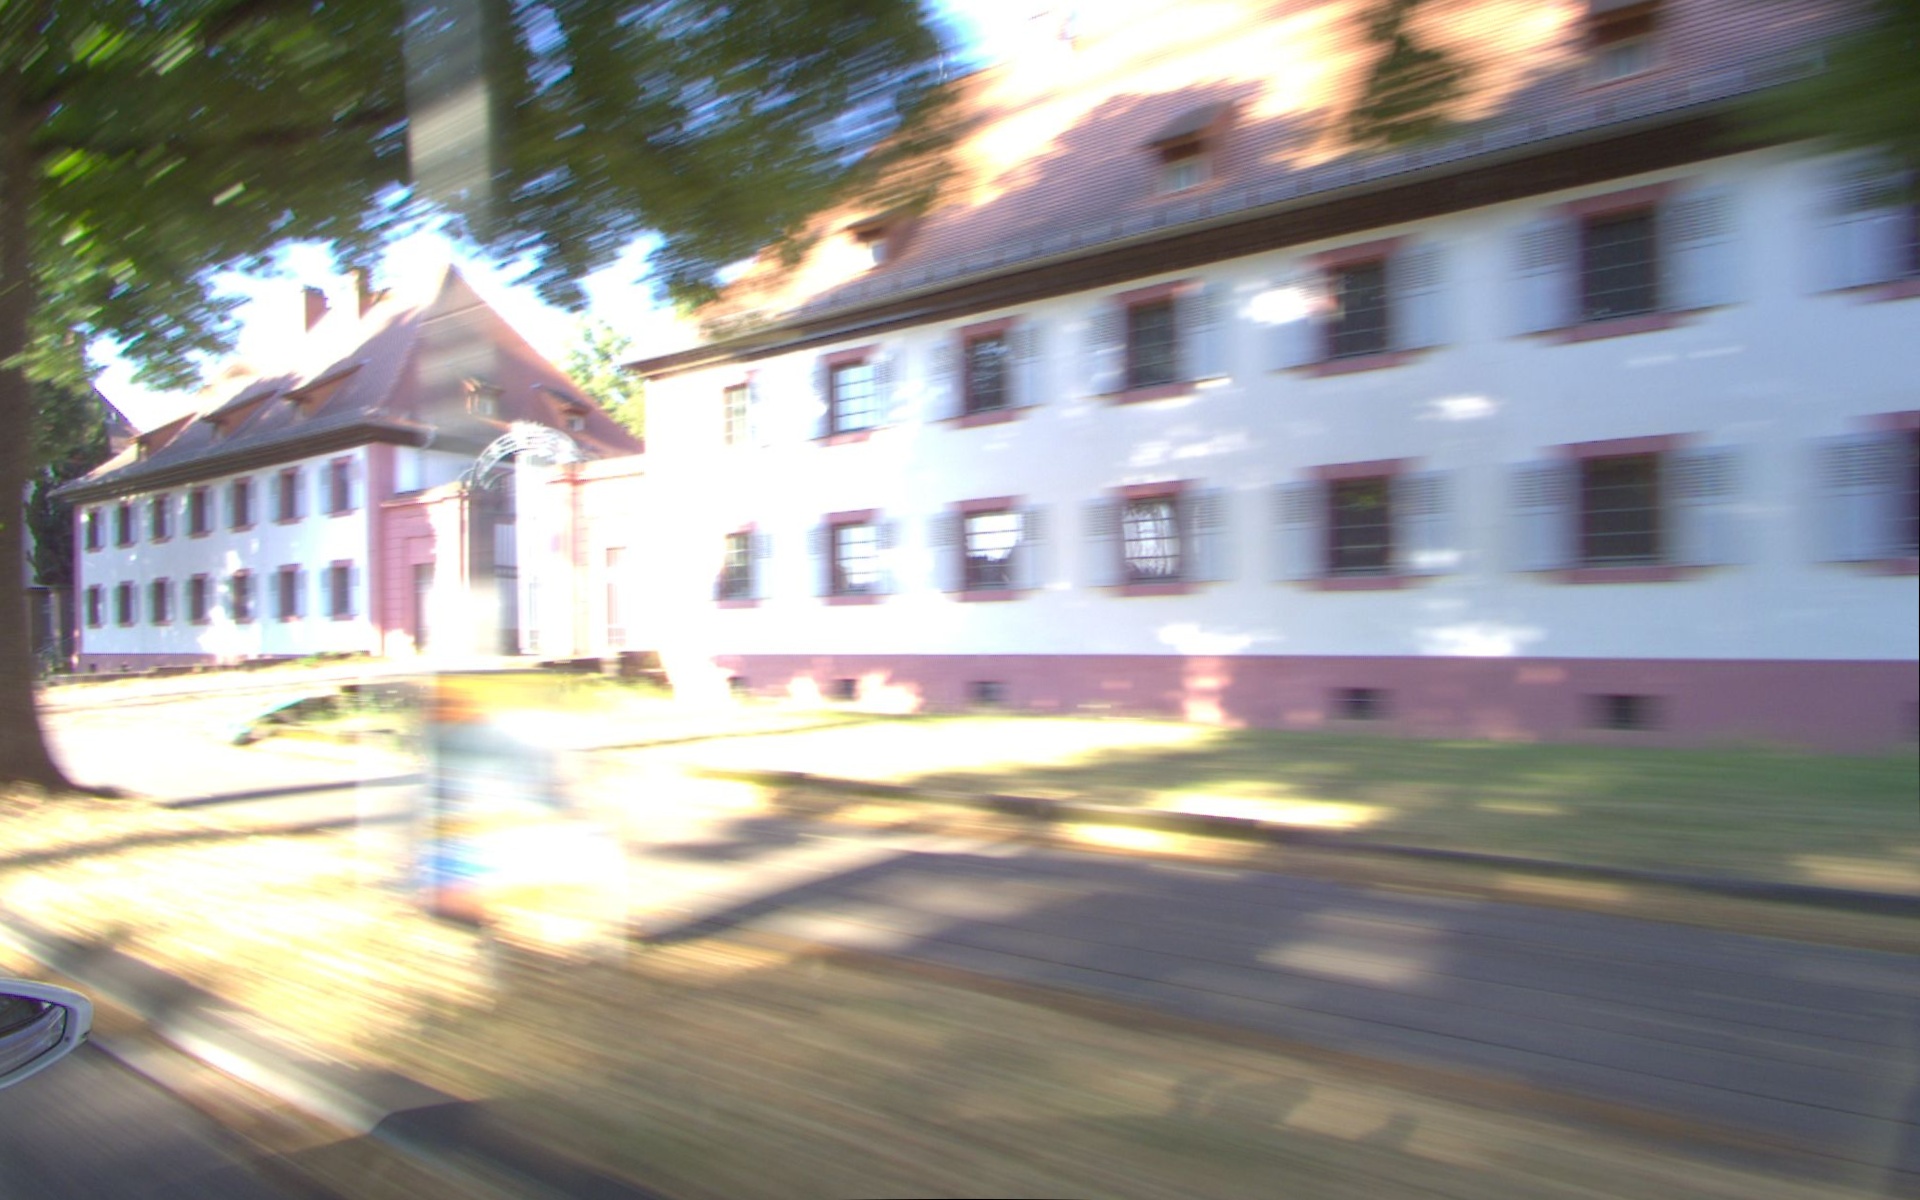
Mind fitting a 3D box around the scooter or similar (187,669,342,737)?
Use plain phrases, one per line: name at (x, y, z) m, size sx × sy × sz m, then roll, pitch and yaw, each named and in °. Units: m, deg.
scooter or similar at (-8.652, 1.254, 12.485) m, size 1.049 × 0.557 × 1.220 m, roll -1°, pitch 7°, yaw 32°
